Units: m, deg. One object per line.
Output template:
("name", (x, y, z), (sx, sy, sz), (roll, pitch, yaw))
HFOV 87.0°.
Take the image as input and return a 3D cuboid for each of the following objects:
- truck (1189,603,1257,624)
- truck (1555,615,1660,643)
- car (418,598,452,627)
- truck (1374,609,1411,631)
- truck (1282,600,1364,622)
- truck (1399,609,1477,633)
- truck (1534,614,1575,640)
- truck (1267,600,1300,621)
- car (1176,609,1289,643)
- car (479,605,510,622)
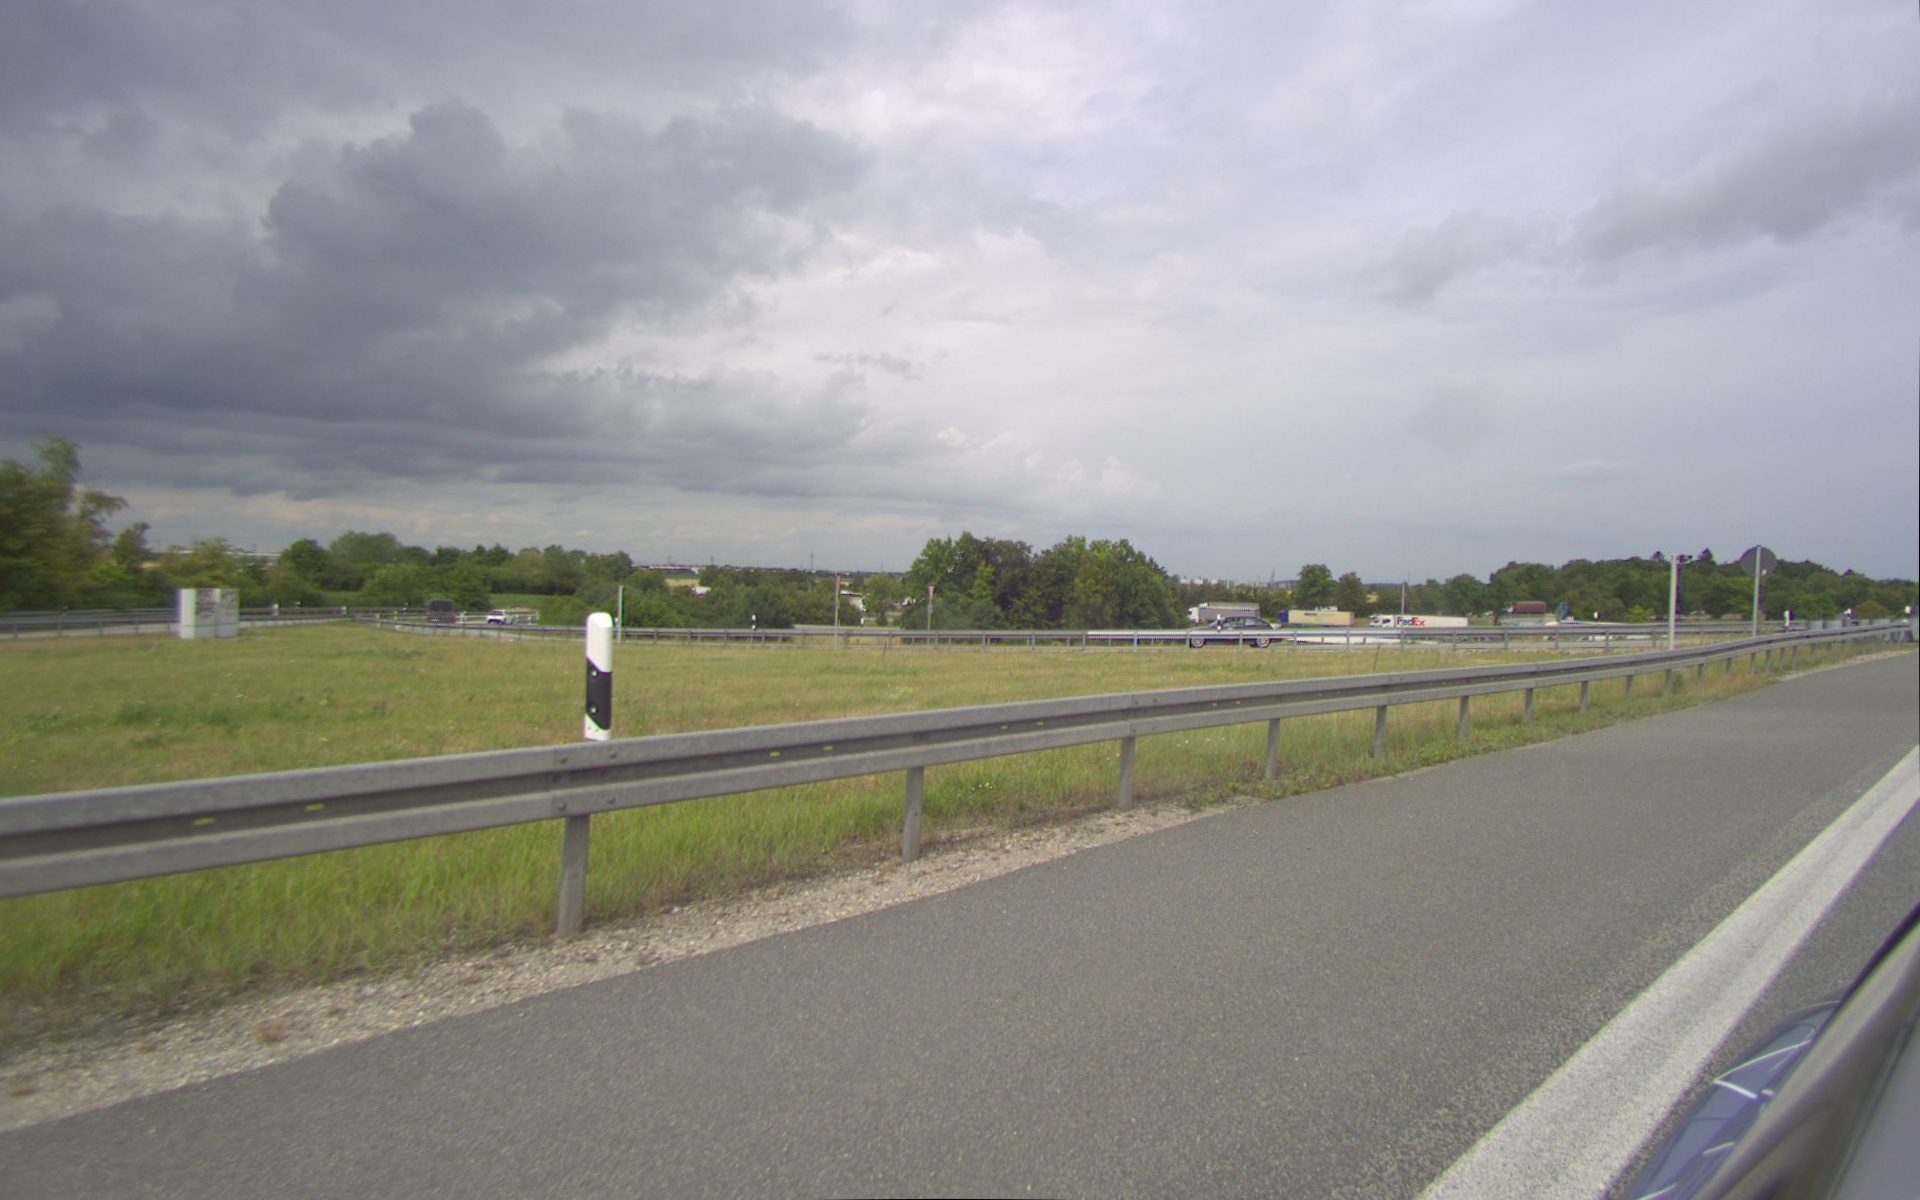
("truck", (60.643, 3.027, 233.872), (14.814, 4.612, 3.950), (1, -1, 40))
("truck", (119.553, 5.259, 187.203), (16.093, 4.759, 3.938), (1, 0, 39))
("car", (-42.145, 0.980, 81.194), (1.876, 2.291, 4.650), (1, -1, -34))
("truck", (89.895, 4.137, 210.176), (6.262, 4.568, 3.877), (0, -1, 39))
("truck", (78.711, 2.353, 219.904), (16.284, 4.612, 3.951), (1, -1, 39))
("truck", (96.585, 4.220, 204.813), (13.719, 4.612, 3.952), (1, -1, 39))
("truck", (113.125, 5.050, 192.489), (6.261, 4.734, 3.878), (0, 0, 39))
("truck", (72.016, 2.264, 225.307), (6.261, 4.568, 3.877), (0, -1, 39))
("car", (11.338, 1.070, 42.271), (4.288, 1.297, 1.707), (1, -1, 5))
("car", (-49.542, 1.426, 107.793), (1.959, 1.731, 4.006), (1, 0, -9))
